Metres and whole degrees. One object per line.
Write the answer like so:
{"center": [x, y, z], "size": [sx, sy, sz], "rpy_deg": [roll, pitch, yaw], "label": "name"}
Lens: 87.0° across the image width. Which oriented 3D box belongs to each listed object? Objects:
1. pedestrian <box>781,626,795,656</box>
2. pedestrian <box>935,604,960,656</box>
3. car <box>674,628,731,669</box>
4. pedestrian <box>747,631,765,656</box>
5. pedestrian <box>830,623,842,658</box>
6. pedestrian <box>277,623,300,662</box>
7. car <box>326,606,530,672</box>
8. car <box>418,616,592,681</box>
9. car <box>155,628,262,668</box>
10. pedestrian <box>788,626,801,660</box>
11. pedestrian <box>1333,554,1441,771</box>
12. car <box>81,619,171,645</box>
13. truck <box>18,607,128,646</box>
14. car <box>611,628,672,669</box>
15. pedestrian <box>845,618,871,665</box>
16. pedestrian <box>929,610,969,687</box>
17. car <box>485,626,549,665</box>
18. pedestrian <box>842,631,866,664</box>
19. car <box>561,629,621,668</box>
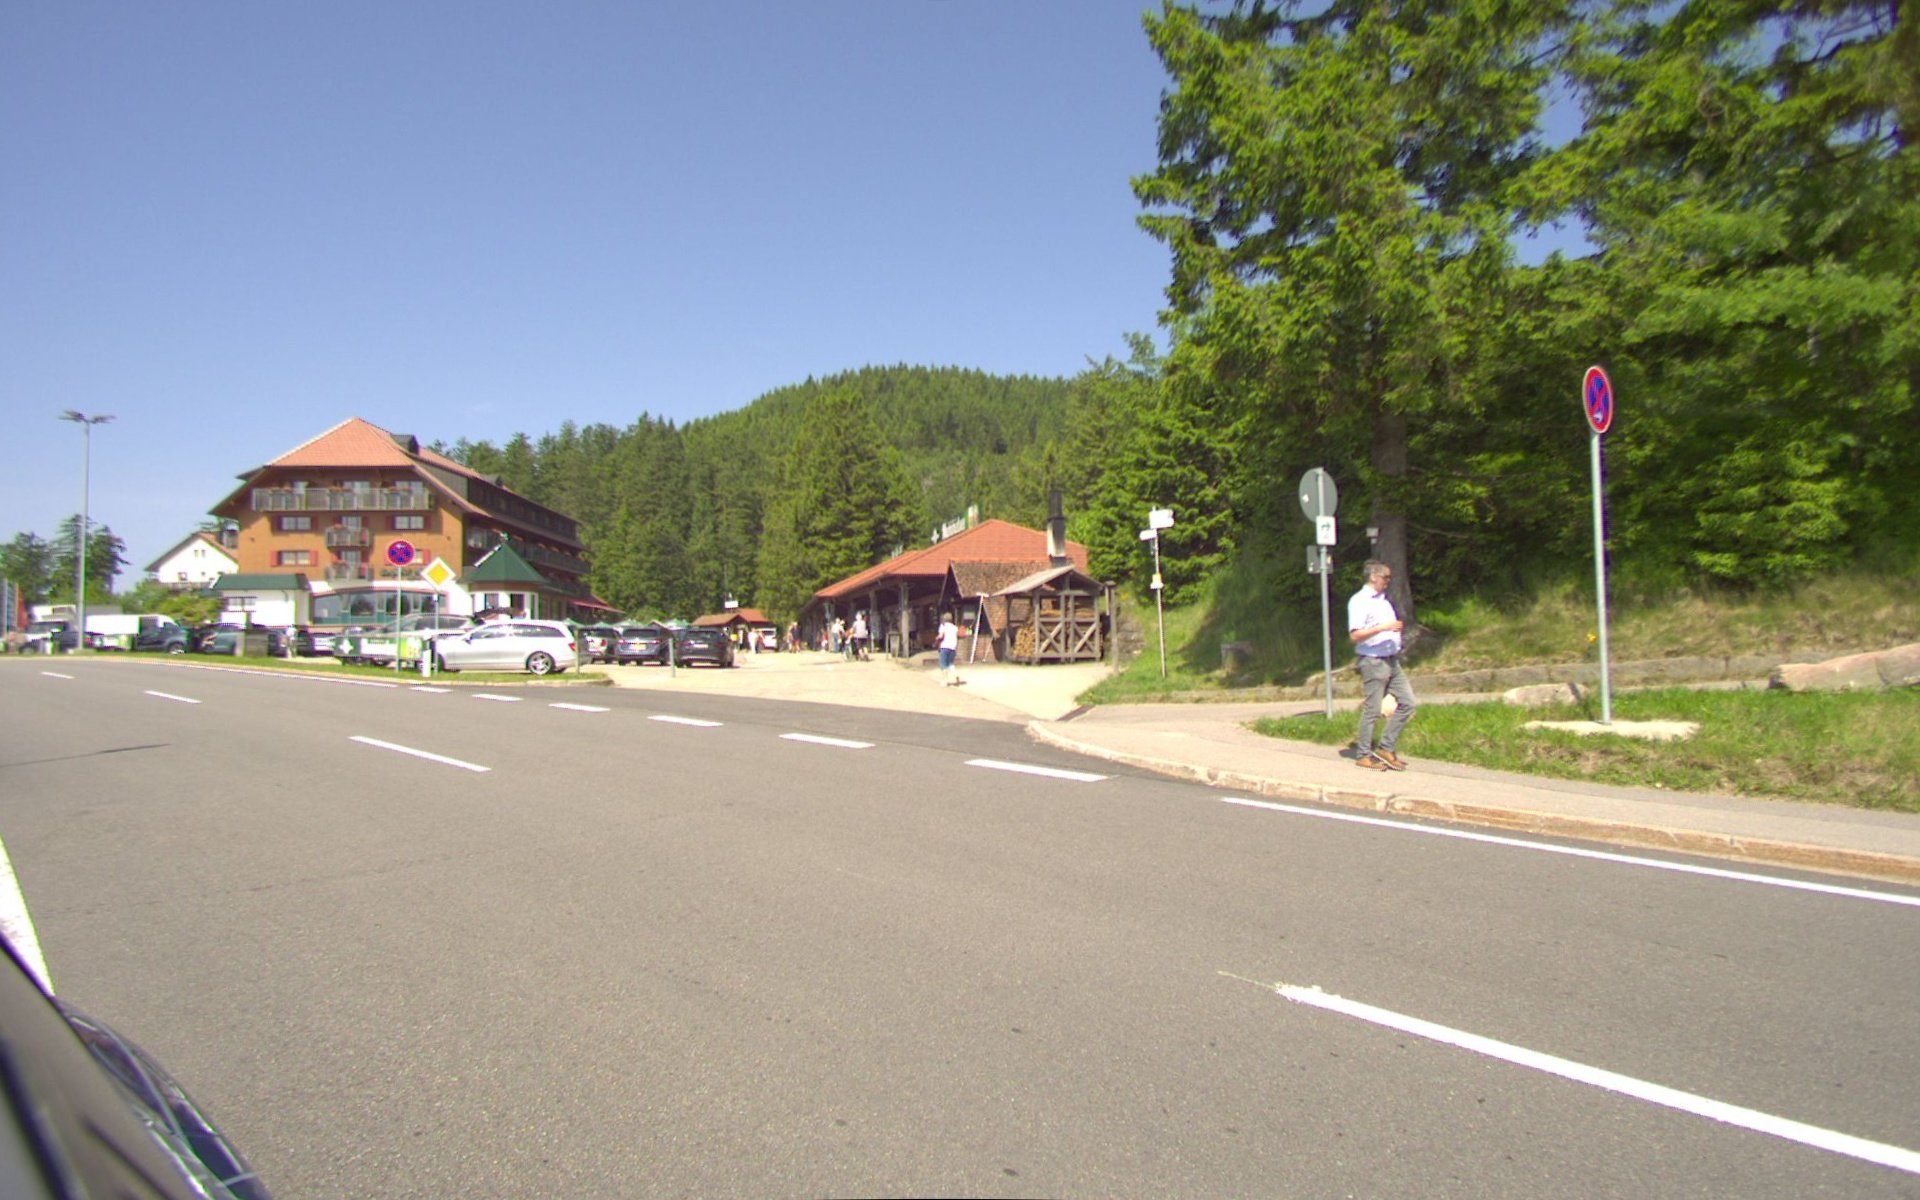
{"center": [-9.878, 2.371, 58.231], "size": [0.674, 1.687, 0.533], "rpy_deg": [-1, -1, 5], "label": "pedestrian"}
{"center": [-0.510, 1.201, 40.341], "size": [0.883, 2.029, 0.789], "rpy_deg": [-1, 0, -8], "label": "pedestrian"}
{"center": [-9.263, 1.736, 36.557], "size": [1.686, 1.406, 3.321], "rpy_deg": [0, -2, -9], "label": "car"}
{"center": [-12.511, 2.664, 62.143], "size": [0.971, 1.507, 0.892], "rpy_deg": [0, -1, -18], "label": "pedestrian"}
{"center": [-5.864, 1.886, 47.703], "size": [0.514, 1.635, 0.538], "rpy_deg": [0, -1, -11], "label": "pedestrian"}
{"center": [-30.552, 1.920, 46.051], "size": [0.768, 1.712, 0.684], "rpy_deg": [1, -2, -44], "label": "pedestrian"}
{"center": [-16.272, 1.166, 31.281], "size": [5.274, 1.884, 2.005], "rpy_deg": [0, -1, -15], "label": "car"}
{"center": [-11.958, 1.246, 26.834], "size": [3.899, 1.600, 1.793], "rpy_deg": [0, -1, -9], "label": "car"}
{"center": [-32.071, 2.045, 43.232], "size": [3.285, 1.604, 1.717], "rpy_deg": [0, -1, -3], "label": "car"}
{"center": [-8.886, 2.316, 54.334], "size": [0.567, 1.778, 0.467], "rpy_deg": [-1, -1, 5], "label": "pedestrian"}
{"center": [3.645, 0.512, 8.640], "size": [0.686, 1.754, 0.573], "rpy_deg": [-1, -1, 41], "label": "pedestrian"}
{"center": [-63.390, 2.407, 76.976], "size": [5.174, 1.920, 2.003], "rpy_deg": [0, -1, -42], "label": "car"}
{"center": [-70.070, 1.986, 80.248], "size": [2.822, 2.851, 8.784], "rpy_deg": [-1, 0, -13], "label": "truck"}
{"center": [-11.821, 1.774, 37.754], "size": [1.691, 1.445, 3.321], "rpy_deg": [0, -2, -9], "label": "car"}
{"center": [-3.746, 1.513, 37.099], "size": [0.759, 1.679, 0.892], "rpy_deg": [0, -1, -17], "label": "pedestrian"}
{"center": [-0.262, 1.128, 23.750], "size": [0.900, 1.754, 0.637], "rpy_deg": [0, -1, -2], "label": "pedestrian"}
{"center": [-19.138, 1.935, 43.877], "size": [1.688, 1.564, 3.139], "rpy_deg": [-1, 0, -6], "label": "car"}
{"center": [-3.983, 1.763, 37.965], "size": [0.759, 1.206, 0.892], "rpy_deg": [0, -1, -17], "label": "pedestrian"}
{"center": [-14.405, 1.878, 39.676], "size": [1.615, 1.445, 3.321], "rpy_deg": [0, -2, -9], "label": "car"}
